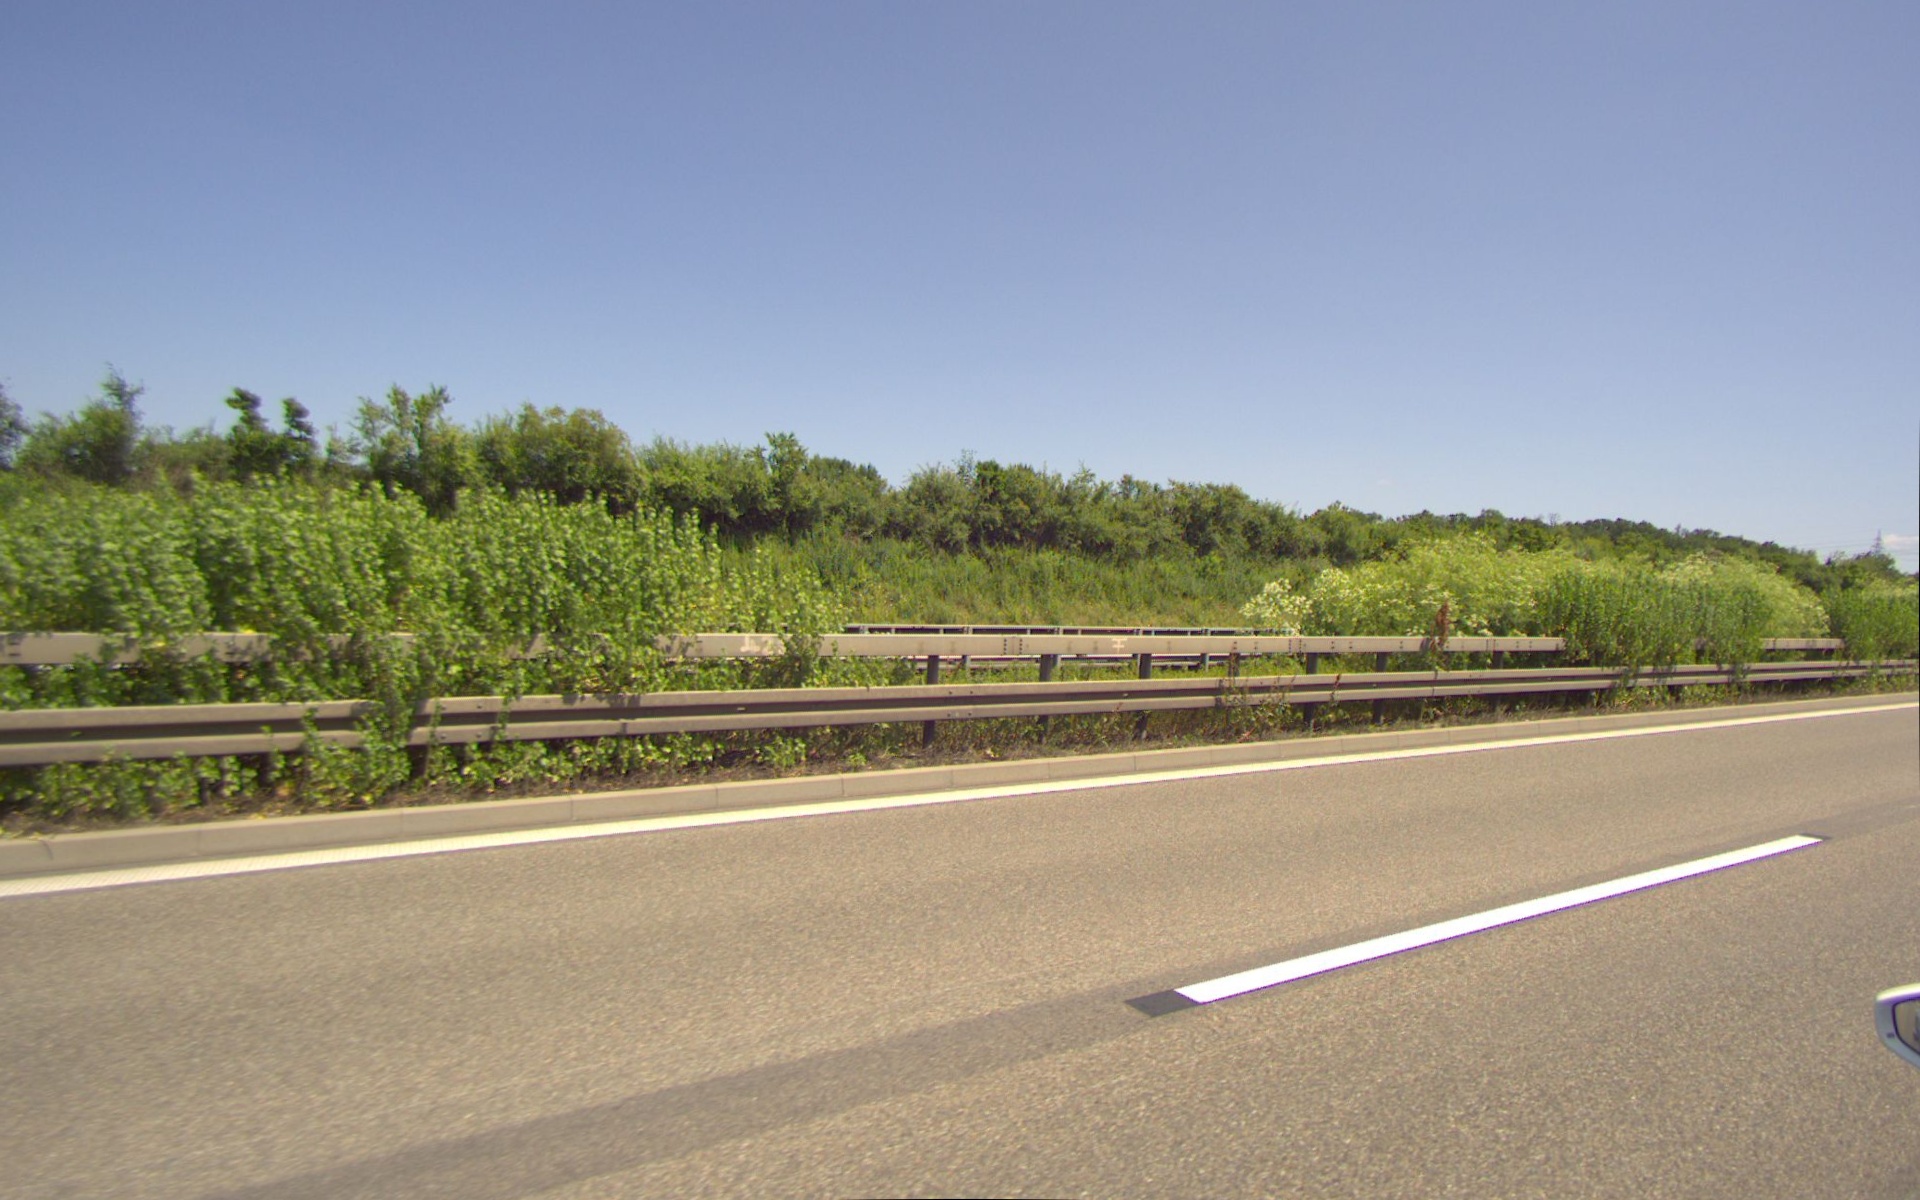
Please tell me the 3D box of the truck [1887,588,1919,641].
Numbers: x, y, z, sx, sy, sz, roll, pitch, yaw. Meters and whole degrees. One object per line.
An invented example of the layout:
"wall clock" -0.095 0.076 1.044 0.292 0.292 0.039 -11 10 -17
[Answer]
"truck" 68.949 1.079 70.565 14.537 3.502 2.443 1 0 -35
